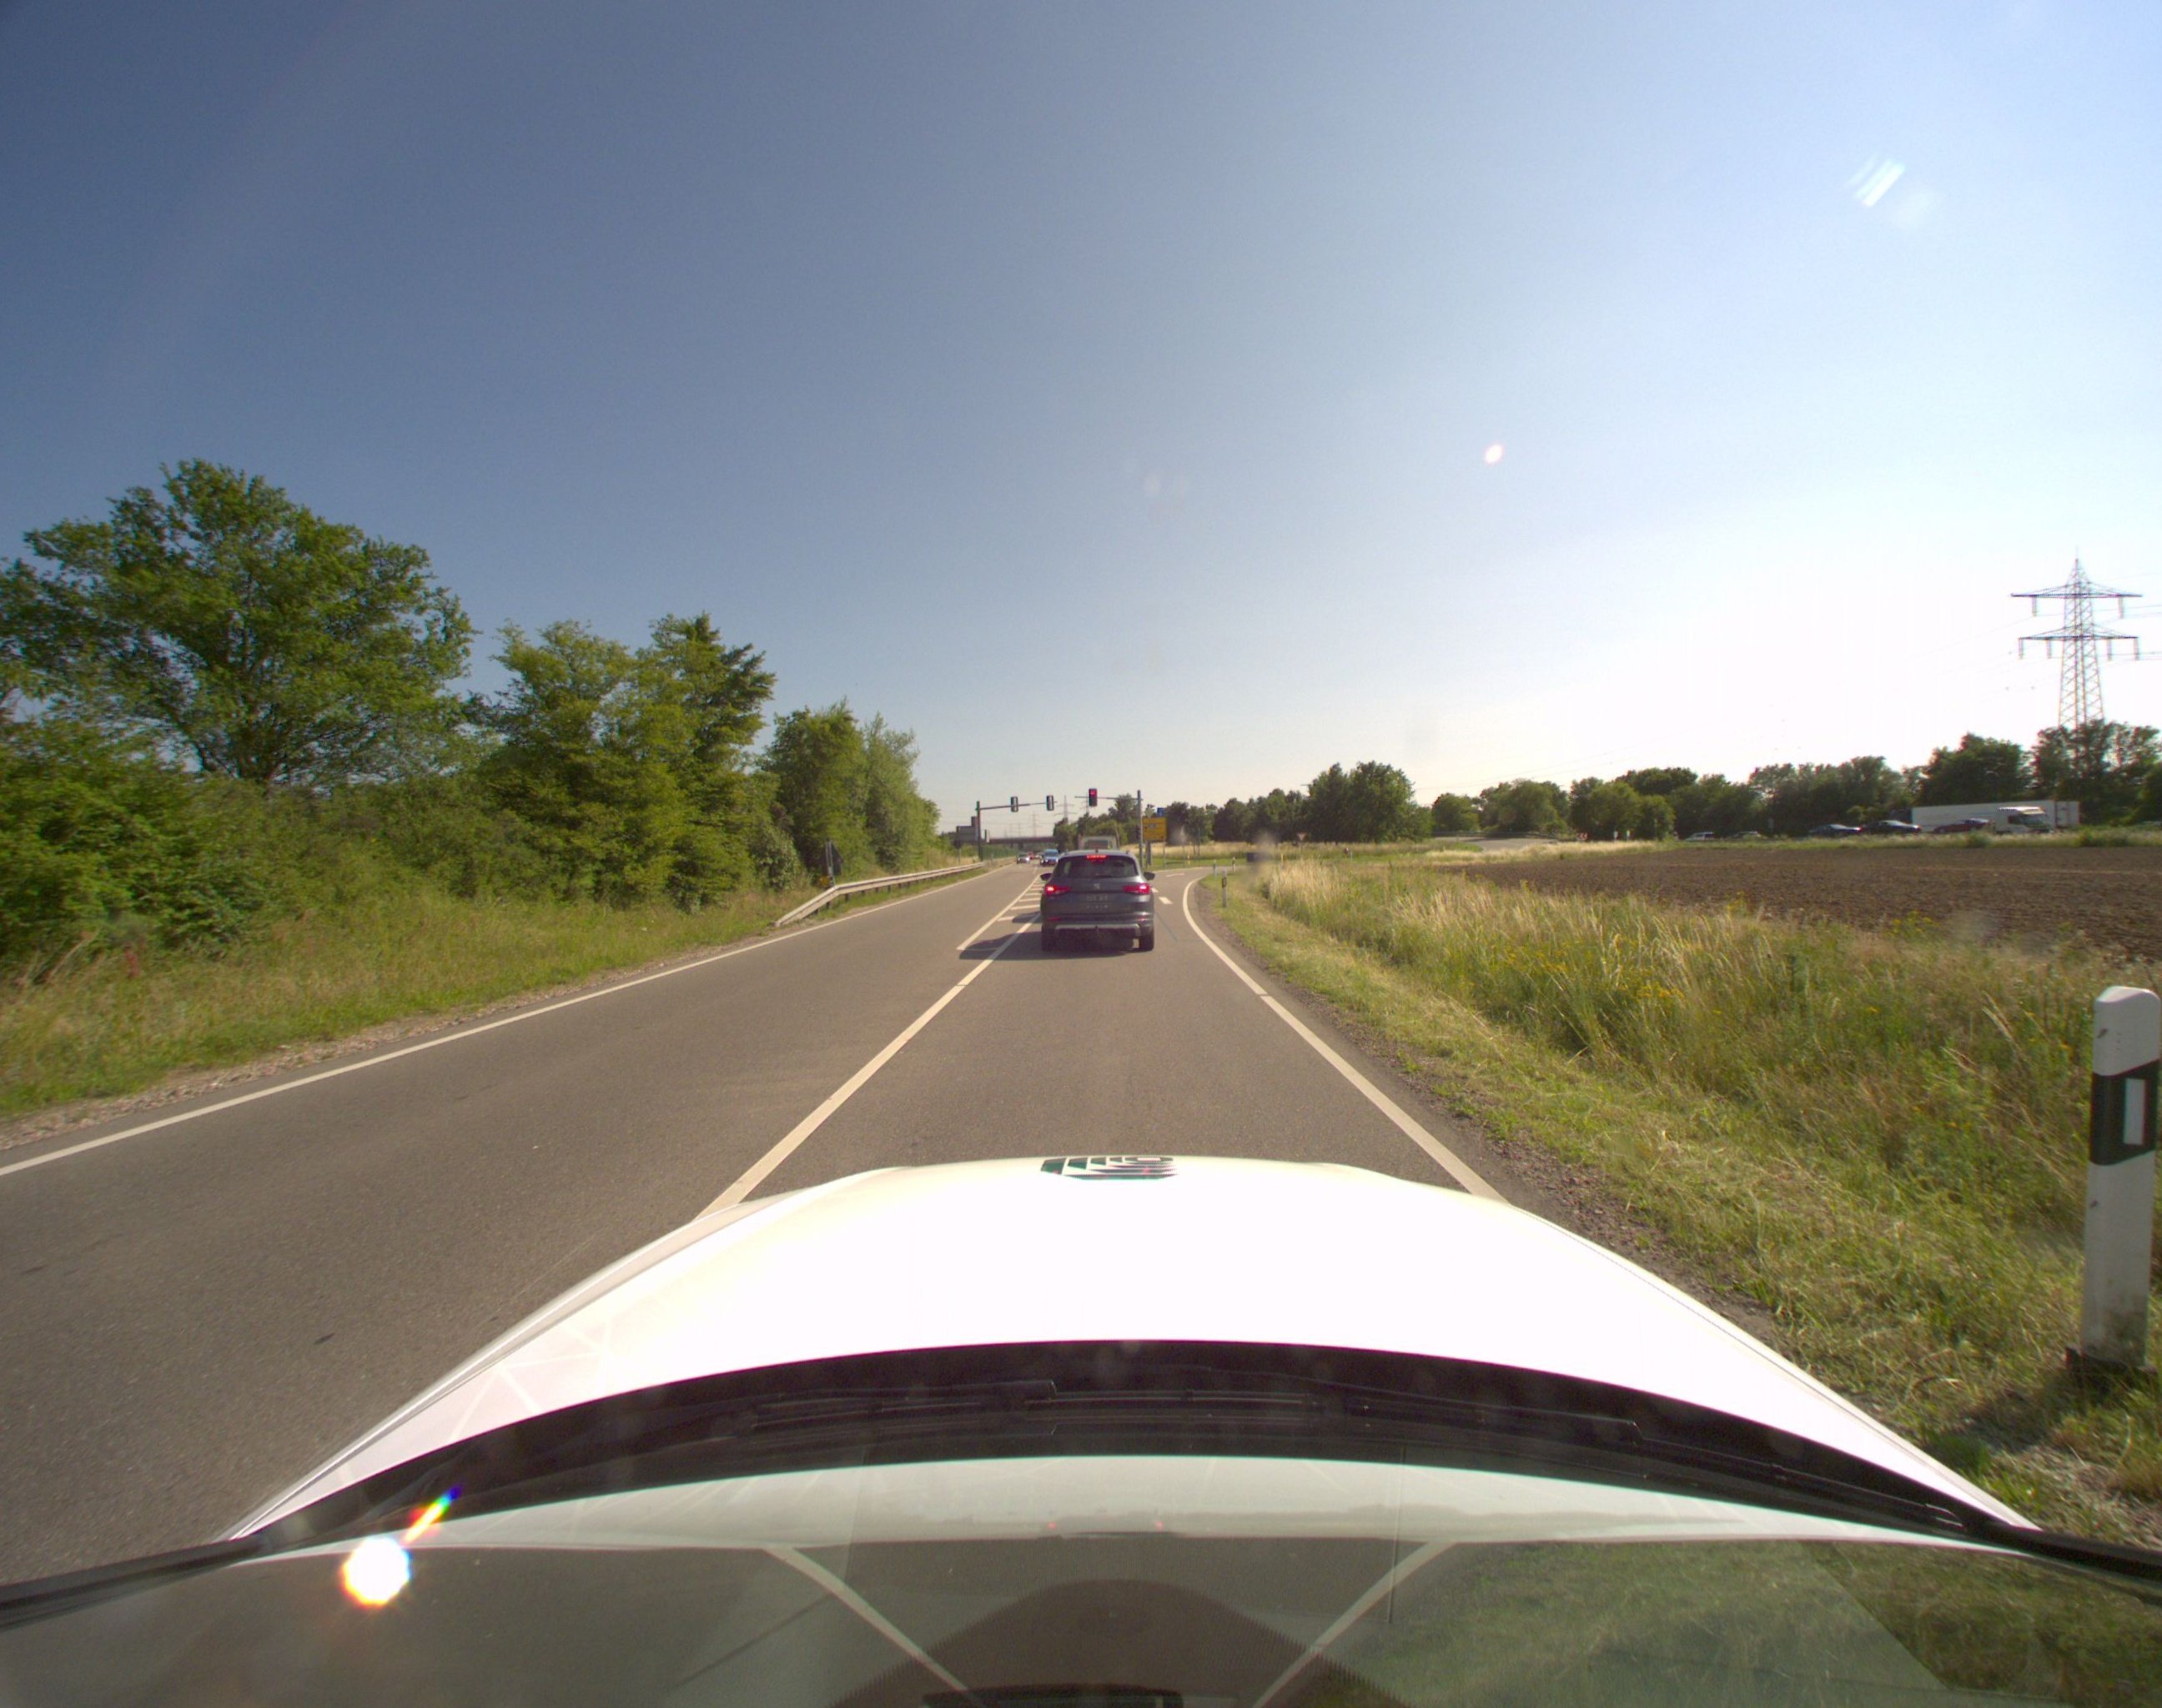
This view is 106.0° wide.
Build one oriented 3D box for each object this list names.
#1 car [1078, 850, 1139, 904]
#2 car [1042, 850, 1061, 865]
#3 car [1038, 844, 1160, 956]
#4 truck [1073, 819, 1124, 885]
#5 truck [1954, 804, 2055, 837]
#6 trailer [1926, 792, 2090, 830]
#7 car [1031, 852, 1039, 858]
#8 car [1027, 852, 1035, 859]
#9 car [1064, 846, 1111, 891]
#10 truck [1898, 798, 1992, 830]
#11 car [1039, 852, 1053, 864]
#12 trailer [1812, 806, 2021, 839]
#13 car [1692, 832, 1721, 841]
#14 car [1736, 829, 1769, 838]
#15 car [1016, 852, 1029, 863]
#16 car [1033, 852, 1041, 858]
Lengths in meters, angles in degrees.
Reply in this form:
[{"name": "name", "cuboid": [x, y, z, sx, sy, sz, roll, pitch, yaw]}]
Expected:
[{"name": "car", "cuboid": [0.816, 0.689, 26.377, 1.780, 1.543, 3.999, -2, 0, 0]}, {"name": "car", "cuboid": [-3.104, 0.330, 85.007, 1.812, 1.540, 3.995, -2, 0, -4]}, {"name": "car", "cuboid": [0.263, 0.665, 14.132, 1.780, 1.629, 3.999, -2, 0, 0]}, {"name": "truck", "cuboid": [0.864, -0.066, 41.033, 2.329, 3.066, 5.810, -1, 0, 1]}, {"name": "truck", "cuboid": [80.420, -2.856, 71.059, 2.506, 2.531, 5.532, -2, 0, -1]}, {"name": "trailer", "cuboid": [99.741, -4.521, 88.171, 3.275, 3.267, 12.450, -2, 0, -1]}, {"name": "car", "cuboid": [-10.901, 0.266, 192.486, 1.758, 1.431, 3.994, -2, 0, -4]}, {"name": "car", "cuboid": [-10.452, 0.262, 169.864, 1.758, 1.431, 3.994, -2, 0, -4]}, {"name": "car", "cuboid": [0.248, 0.554, 33.278, 1.780, 1.675, 3.999, -2, 0, 0]}, {"name": "truck", "cuboid": [99.605, -4.521, 94.036, 3.275, 3.267, 6.975, -2, 0, -1]}, {"name": "car", "cuboid": [-4.197, 0.440, 97.615, 1.680, 1.380, 3.529, -1, 1, -3]}, {"name": "trailer", "cuboid": [80.263, -2.914, 79.291, 2.505, 2.531, 17.076, -2, 0, -1]}, {"name": "car", "cuboid": [97.359, -2.727, 126.782, 1.765, 1.372, 3.625, 0, 0, 0]}, {"name": "car", "cuboid": [91.500, -2.804, 111.021, 1.391, 1.151, 3.579, -1, 1, -2]}, {"name": "car", "cuboid": [-7.998, 0.452, 111.515, 1.821, 1.431, 3.994, -2, 0, -4]}, {"name": "car", "cuboid": [-9.509, 0.246, 176.197, 1.758, 1.334, 3.994, -2, 0, -4]}]
